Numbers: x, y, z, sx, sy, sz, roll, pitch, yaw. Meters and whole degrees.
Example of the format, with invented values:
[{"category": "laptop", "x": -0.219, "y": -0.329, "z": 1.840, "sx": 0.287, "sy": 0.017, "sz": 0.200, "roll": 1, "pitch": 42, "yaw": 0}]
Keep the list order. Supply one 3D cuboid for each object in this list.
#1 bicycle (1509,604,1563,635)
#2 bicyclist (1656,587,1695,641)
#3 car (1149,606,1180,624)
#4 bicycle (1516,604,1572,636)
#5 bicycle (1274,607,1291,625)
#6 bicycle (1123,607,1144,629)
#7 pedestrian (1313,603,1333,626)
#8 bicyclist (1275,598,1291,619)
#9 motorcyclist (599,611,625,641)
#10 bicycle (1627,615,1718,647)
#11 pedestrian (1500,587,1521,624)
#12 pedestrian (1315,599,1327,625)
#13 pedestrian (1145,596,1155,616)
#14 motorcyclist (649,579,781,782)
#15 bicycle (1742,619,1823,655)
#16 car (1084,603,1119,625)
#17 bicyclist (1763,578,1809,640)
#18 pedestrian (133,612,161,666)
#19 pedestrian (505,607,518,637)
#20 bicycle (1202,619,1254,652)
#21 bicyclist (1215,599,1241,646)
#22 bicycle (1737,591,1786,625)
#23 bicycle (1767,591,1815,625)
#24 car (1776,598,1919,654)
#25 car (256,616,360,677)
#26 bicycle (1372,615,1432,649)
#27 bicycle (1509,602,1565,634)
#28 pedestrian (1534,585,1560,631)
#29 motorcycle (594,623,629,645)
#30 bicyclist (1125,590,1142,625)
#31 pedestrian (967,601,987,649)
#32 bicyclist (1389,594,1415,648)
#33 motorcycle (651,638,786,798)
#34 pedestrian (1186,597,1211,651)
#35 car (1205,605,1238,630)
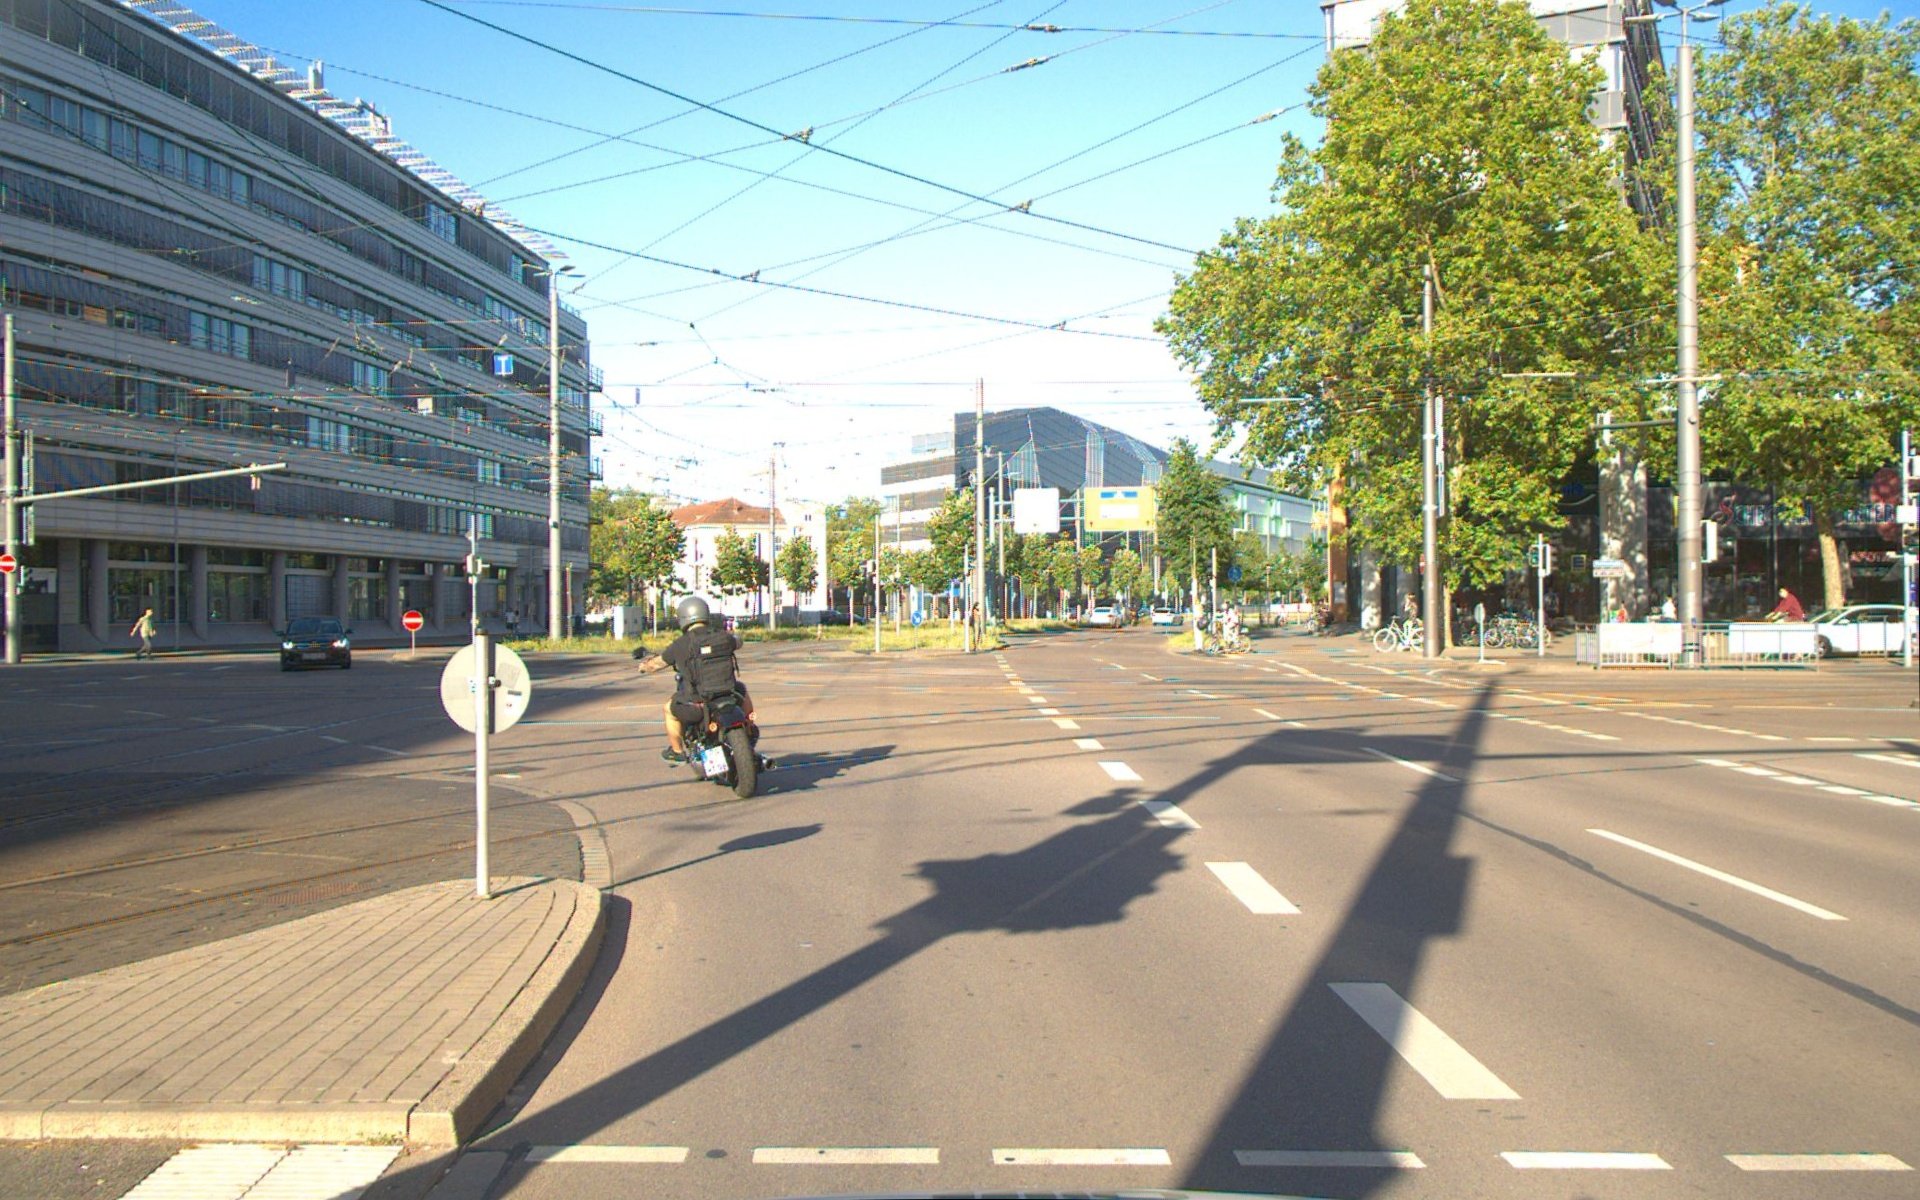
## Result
[{"category": "bicycle", "x": 19.198, "y": 0.640, "z": 55.158, "sx": 1.668, "sy": 1.003, "sz": 0.391, "roll": -1, "pitch": 0, "yaw": 13}, {"category": "bicyclist", "x": 26.365, "y": 0.516, "z": 60.961, "sx": 1.204, "sy": 1.965, "sz": 0.833, "roll": -1, "pitch": 0, "yaw": 32}, {"category": "car", "x": 17.035, "y": 1.264, "z": 137.734, "sx": 1.973, "sy": 1.400, "sz": 4.041, "roll": -1, "pitch": 0, "yaw": 16}, {"category": "bicycle", "x": 18.852, "y": 0.631, "z": 53.394, "sx": 1.668, "sy": 1.003, "sz": 0.391, "roll": -1, "pitch": 0, "yaw": 13}, {"category": "bicycle", "x": 21.943, "y": 1.071, "z": 112.688, "sx": 1.018, "sy": 1.153, "sz": 3.183, "roll": -1, "pitch": 0, "yaw": 10}, {"category": "bicycle", "x": 13.338, "y": 1.376, "z": 127.062, "sx": 0.994, "sy": 1.607, "sz": 3.577, "roll": -1, "pitch": 0, "yaw": 16}, {"category": "pedestrian", "x": 17.243, "y": 0.686, "z": 78.524, "sx": 0.768, "sy": 1.075, "sz": 0.814, "roll": -1, "pitch": 0, "yaw": 21}, {"category": "bicyclist", "x": 21.936, "y": 0.559, "z": 112.384, "sx": 1.018, "sy": 1.405, "sz": 1.565, "roll": -1, "pitch": 0, "yaw": 9}, {"category": "motorcyclist", "x": -20.350, "y": 1.518, "z": 96.800, "sx": 0.997, "sy": 1.761, "sz": 1.462, "roll": -1, "pitch": 0, "yaw": 10}, {"category": "bicycle", "x": 26.298, "y": 1.137, "z": 61.058, "sx": 2.986, "sy": 1.133, "sz": 0.833, "roll": -1, "pitch": 0, "yaw": 32}, {"category": "pedestrian", "x": 23.334, "y": 0.225, "z": 70.086, "sx": 0.760, "sy": 1.554, "sz": 0.564, "roll": -1, "pitch": -1, "yaw": 23}, {"category": "pedestrian", "x": 22.182, "y": 0.721, "z": 101.523, "sx": 0.690, "sy": 1.597, "sz": 0.623, "roll": -1, "pitch": 0, "yaw": 12}, {"category": "pedestrian", "x": 17.232, "y": 0.562, "z": 150.110, "sx": 0.629, "sy": 1.850, "sz": 0.628, "roll": -1, "pitch": 0, "yaw": 31}, {"category": "motorcyclist", "x": -2.037, "y": 0.629, "z": 13.595, "sx": 1.004, "sy": 1.579, "sz": 1.283, "roll": 0, "pitch": 0, "yaw": -11}, {"category": "bicycle", "x": 22.150, "y": 1.001, "z": 44.558, "sx": 1.814, "sy": 0.926, "sz": 0.652, "roll": -1, "pitch": 0, "yaw": 3}, {"category": "car", "x": 9.907, "y": 0.977, "z": 115.358, "sx": 1.861, "sy": 1.534, "sz": 4.003, "roll": 0, "pitch": -1, "yaw": 13}, {"category": "bicyclist", "x": 22.253, "y": 0.244, "z": 44.563, "sx": 0.906, "sy": 1.643, "sz": 0.638, "roll": -1, "pitch": 0, "yaw": 3}, {"category": "pedestrian", "x": -28.515, "y": 1.368, "z": 57.997, "sx": 0.671, "sy": 1.855, "sz": 0.872, "roll": -1, "pitch": -1, "yaw": -41}, {"category": "pedestrian", "x": -27.150, "y": 1.317, "z": 100.155, "sx": 0.536, "sy": 1.764, "sz": 0.642, "roll": -1, "pitch": 0, "yaw": 5}, {"category": "bicycle", "x": 8.896, "y": 1.180, "z": 54.915, "sx": 1.595, "sy": 1.039, "sz": 0.516, "roll": -2, "pitch": -1, "yaw": 25}, {"category": "bicyclist", "x": 8.900, "y": 0.742, "z": 54.916, "sx": 0.727, "sy": 1.529, "sz": 0.570, "roll": -2, "pitch": -1, "yaw": 24}, {"category": "bicycle", "x": 27.918, "y": 0.267, "z": 57.583, "sx": 0.861, "sy": 1.110, "sz": 2.918, "roll": 0, "pitch": 1, "yaw": 40}, {"category": "bicycle", "x": 28.696, "y": 0.268, "z": 57.076, "sx": 0.861, "sy": 1.110, "sz": 2.918, "roll": 0, "pitch": 1, "yaw": 40}, {"category": "car", "x": 25.331, "y": 0.734, "z": 46.388, "sx": 3.903, "sy": 1.512, "sz": 2.001, "roll": 0, "pitch": -1, "yaw": 3}, {"category": "car", "x": -17.653, "y": 1.215, "z": 44.671, "sx": 1.775, "sy": 1.491, "sz": 4.260, "roll": -2, "pitch": 1, "yaw": -33}, {"category": "bicycle", "x": 14.147, "y": 1.018, "z": 52.982, "sx": 1.813, "sy": 1.039, "sz": 0.517, "roll": -1, "pitch": -1, "yaw": 10}, {"category": "bicycle", "x": 19.089, "y": 0.594, "z": 54.735, "sx": 1.668, "sy": 1.003, "sz": 0.391, "roll": -1, "pitch": 0, "yaw": 13}, {"category": "pedestrian", "x": 24.370, "y": 0.343, "z": 68.656, "sx": 0.832, "sy": 1.884, "sz": 0.807, "roll": 1, "pitch": 0, "yaw": 32}, {"category": "motorcycle", "x": -20.355, "y": 1.971, "z": 96.753, "sx": 0.962, "sy": 1.253, "sz": 2.945, "roll": -1, "pitch": 0, "yaw": 10}, {"category": "bicyclist", "x": 13.353, "y": 0.549, "z": 127.016, "sx": 0.994, "sy": 2.670, "sz": 1.473, "roll": -1, "pitch": 0, "yaw": 16}, {"category": "pedestrian", "x": 0.585, "y": 0.843, "z": 56.382, "sx": 0.643, "sy": 1.610, "sz": 0.489, "roll": 0, "pitch": 0, "yaw": 2}, {"category": "bicyclist", "x": 14.147, "y": 0.668, "z": 52.989, "sx": 0.727, "sy": 1.724, "sz": 0.570, "roll": -1, "pitch": -1, "yaw": 10}, {"category": "motorcycle", "x": -2.036, "y": 0.917, "z": 13.669, "sx": 0.988, "sy": 1.145, "sz": 2.317, "roll": 0, "pitch": 0, "yaw": -11}, {"category": "pedestrian", "x": 8.203, "y": 0.819, "z": 56.949, "sx": 0.688, "sy": 1.869, "sz": 0.513, "roll": 0, "pitch": -1, "yaw": 34}, {"category": "car", "x": 20.750, "y": 1.413, "z": 131.213, "sx": 2.009, "sy": 1.906, "sz": 4.229, "roll": 0, "pitch": -1, "yaw": 16}]
